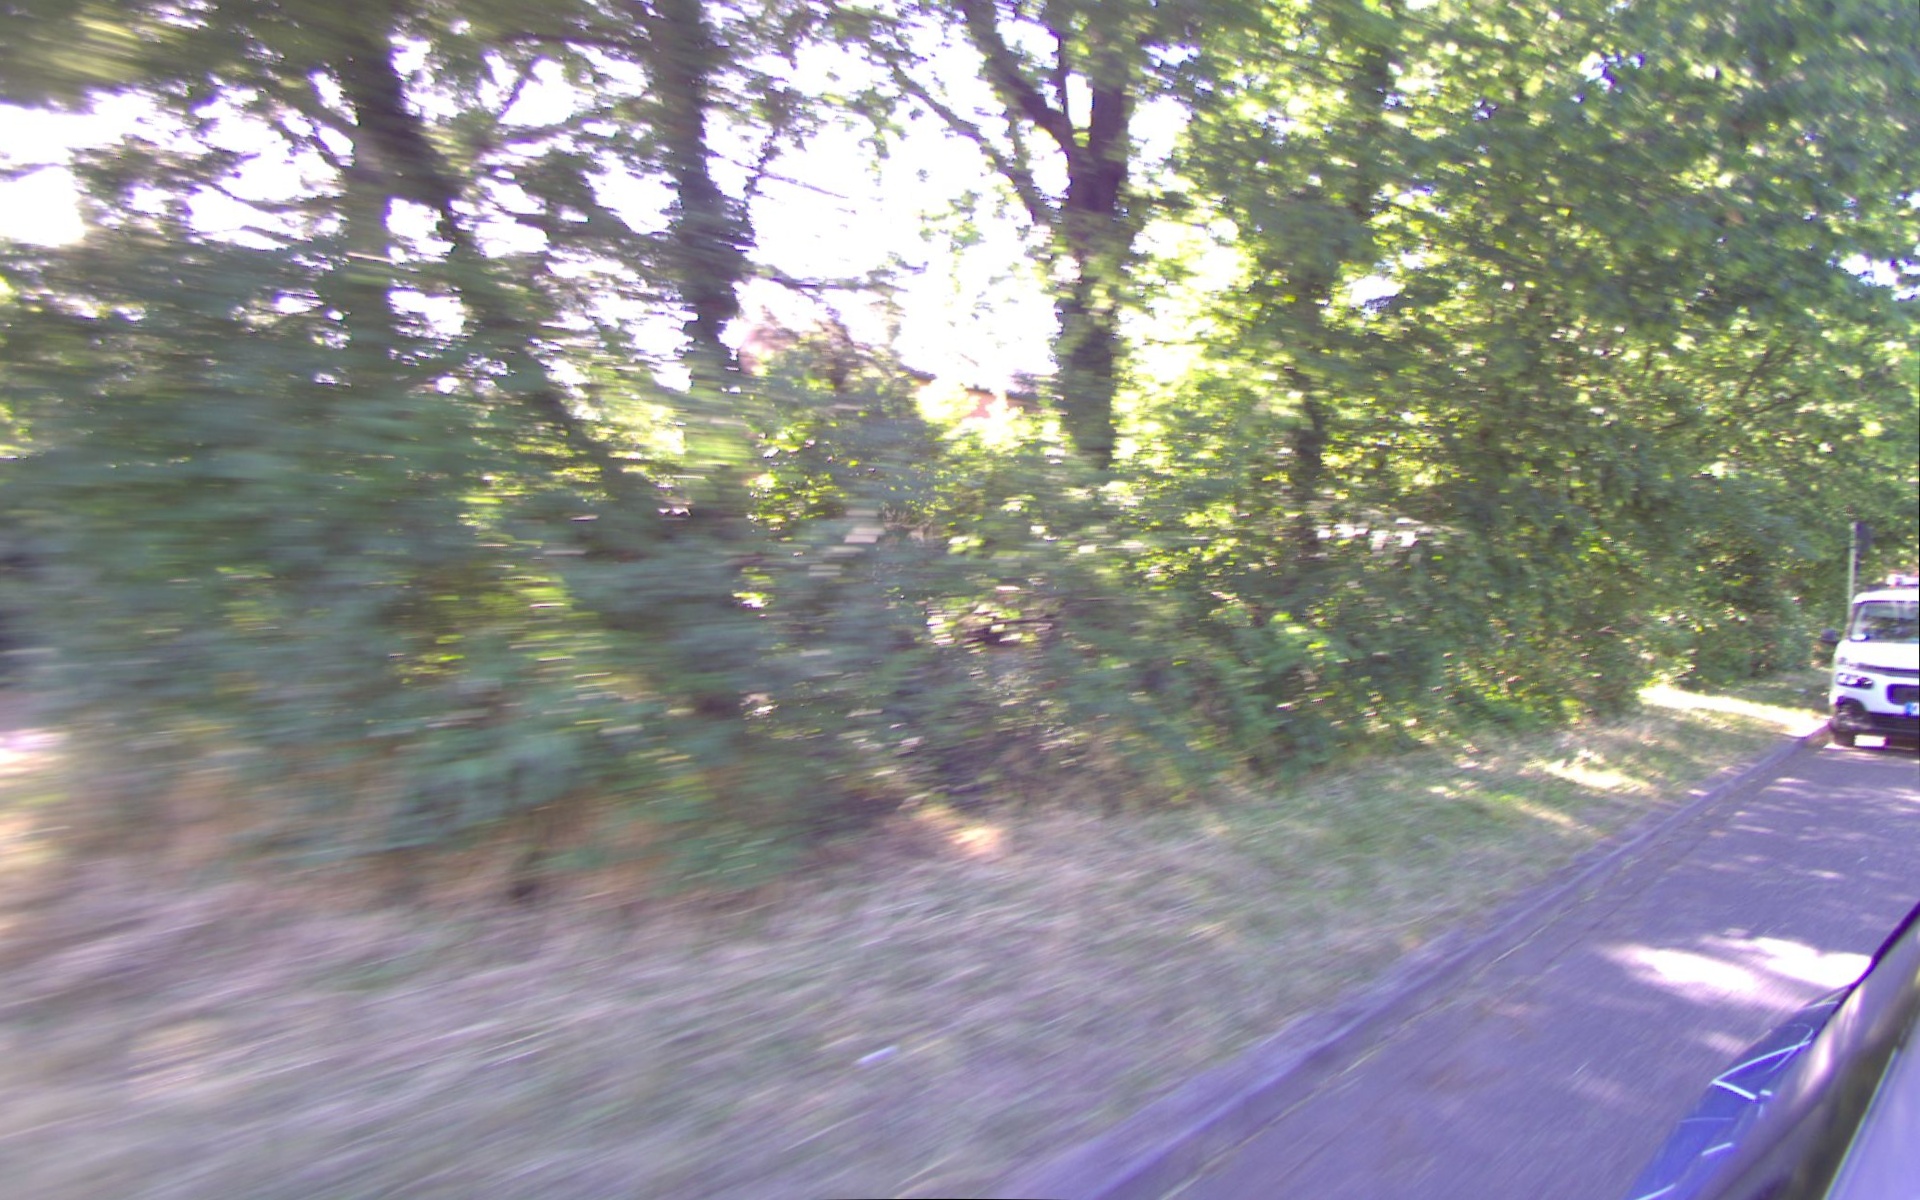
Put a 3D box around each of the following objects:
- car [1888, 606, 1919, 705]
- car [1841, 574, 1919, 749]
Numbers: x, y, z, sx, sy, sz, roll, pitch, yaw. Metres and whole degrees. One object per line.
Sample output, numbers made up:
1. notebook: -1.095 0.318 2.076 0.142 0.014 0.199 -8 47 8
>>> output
1. car: 16.257 0.858 16.192 4.536 1.463 1.720 1 0 -43
2. car: 11.540 0.629 11.706 1.750 1.771 4.560 2 2 44
